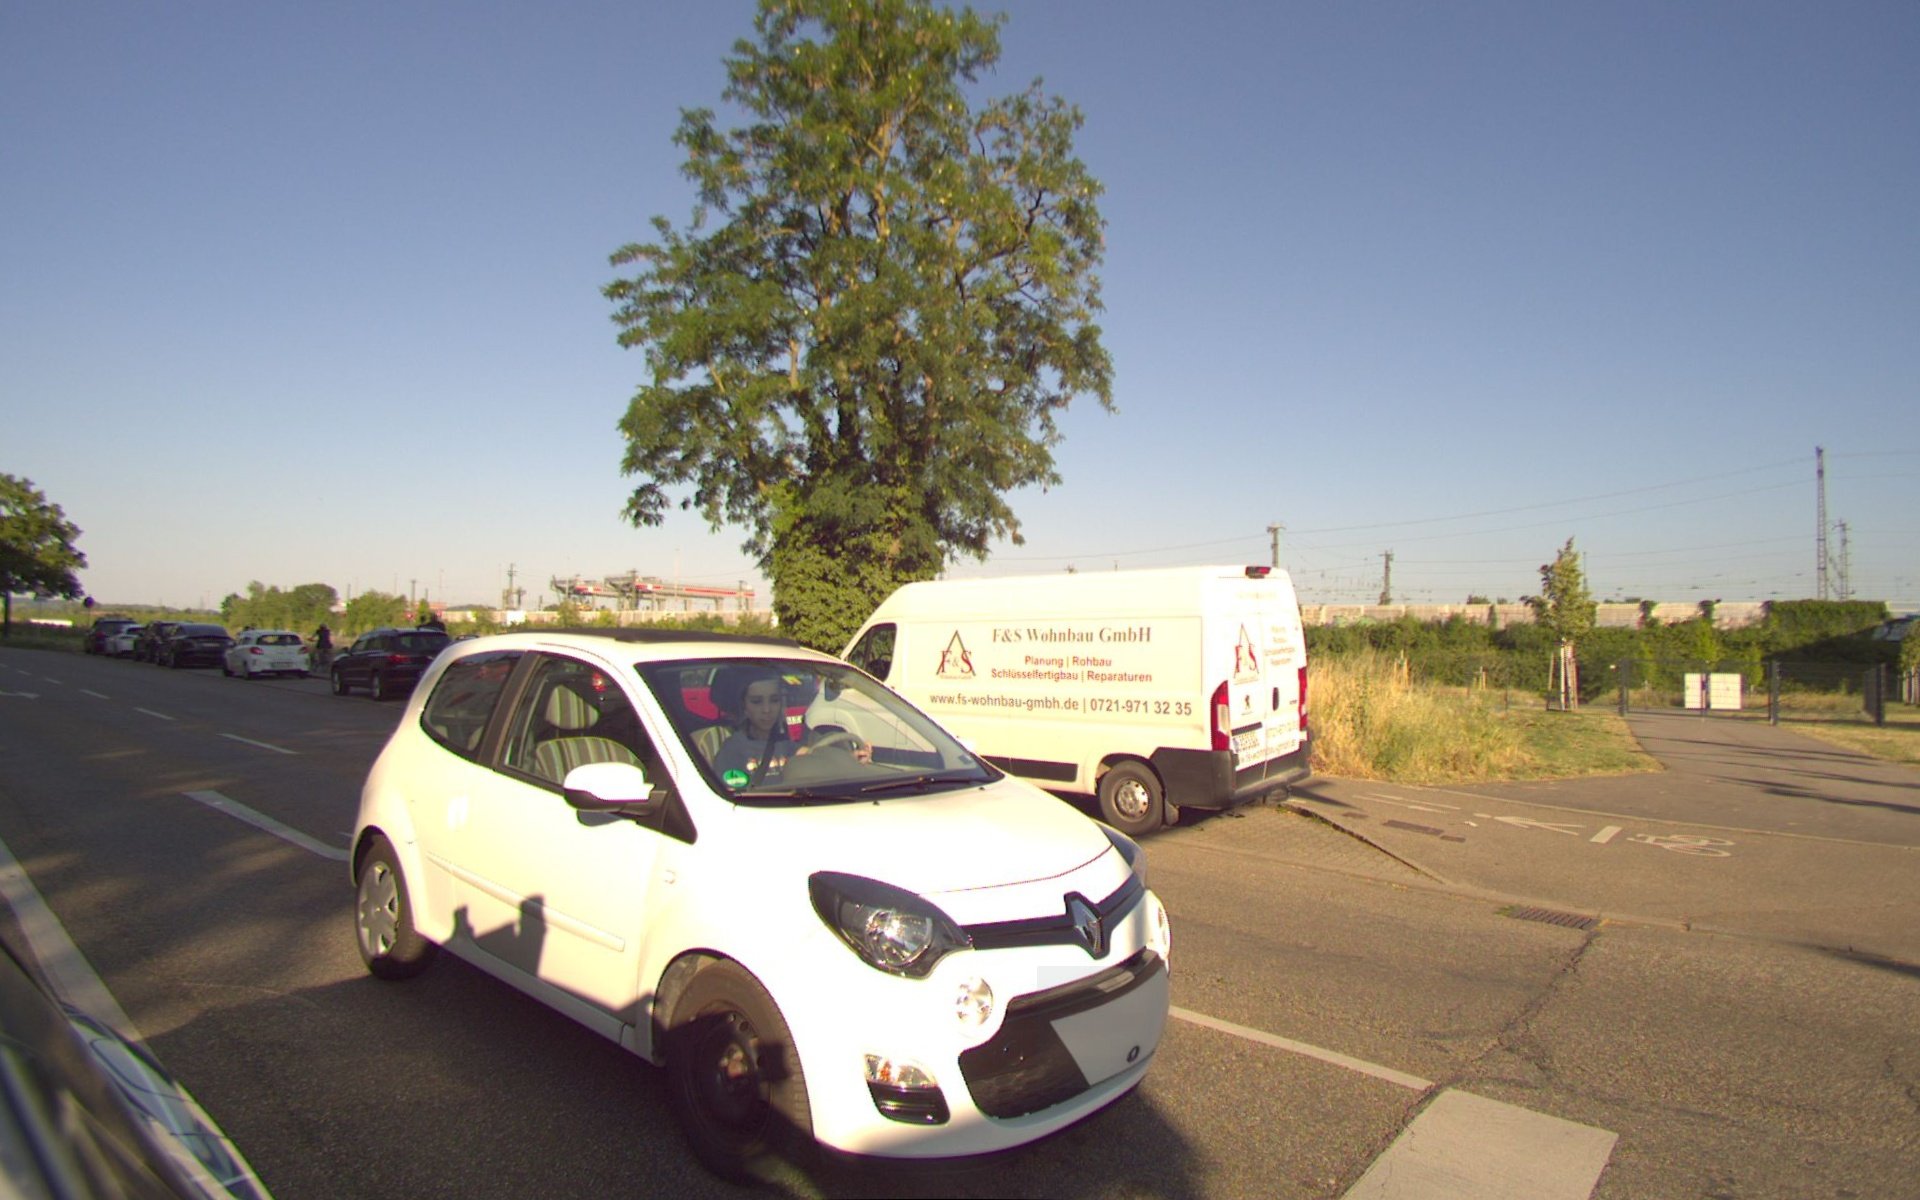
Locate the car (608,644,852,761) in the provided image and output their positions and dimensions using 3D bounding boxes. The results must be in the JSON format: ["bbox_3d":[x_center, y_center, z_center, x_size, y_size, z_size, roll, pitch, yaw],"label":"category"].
[{"bbox_3d":[-3.555,1.475,15.394,3.692,1.498,1.723,-1,-4,40],"label":"car"}]

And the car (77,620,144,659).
[{"bbox_3d":[-40.847,1.894,48.605,4.219,1.789,1.866,-1,-4,43],"label":"car"}]

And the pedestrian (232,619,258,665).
[{"bbox_3d":[-31.479,1.850,44.529,0.710,2.029,0.697,-1,-4,42],"label":"pedestrian"}]

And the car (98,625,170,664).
[{"bbox_3d":[-36.476,1.951,44.658,4.219,1.586,1.799,-1,-4,43],"label":"car"}]

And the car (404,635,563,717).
[{"bbox_3d":[-10.021,1.547,21.195,3.577,1.541,1.642,-1,-4,40],"label":"car"}]

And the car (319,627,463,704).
[{"bbox_3d":[-13.603,1.526,24.113,4.003,1.672,1.642,-1,-4,40],"label":"car"}]

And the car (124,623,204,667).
[{"bbox_3d":[-32.390,1.812,41.147,4.219,1.650,1.799,-1,-4,43],"label":"car"}]

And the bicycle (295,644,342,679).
[{"bbox_3d":[-21.199,2.022,33.424,2.163,1.098,0.738,-1,-4,43],"label":"bicycle"}]

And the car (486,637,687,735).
[{"bbox_3d":[-6.805,1.495,18.316,3.814,1.541,1.723,-1,-4,40],"label":"car"}]

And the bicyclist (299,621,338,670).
[{"bbox_3d":[-21.183,1.498,33.405,1.146,1.609,0.758,-1,-4,43],"label":"bicyclist"}]

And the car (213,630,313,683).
[{"bbox_3d":[-21.565,1.731,31.290,3.582,1.538,1.684,-1,-4,42],"label":"car"}]

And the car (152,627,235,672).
[{"bbox_3d":[-28.241,1.815,37.225,1.798,1.538,4.292,5,-4,-45],"label":"car"}]

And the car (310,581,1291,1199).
[{"bbox_3d":[-0.876,0.774,3.940,3.772,1.480,1.683,-1,-4,40],"label":"car"}]

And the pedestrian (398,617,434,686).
[{"bbox_3d":[-16.254,1.537,30.229,0.729,2.029,0.608,-1,-4,39],"label":"pedestrian"}]

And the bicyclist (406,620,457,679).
[{"bbox_3d":[-14.930,1.399,28.589,1.145,1.609,0.855,-1,-4,41],"label":"bicyclist"}]

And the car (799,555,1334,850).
[{"bbox_3d":[0.922,0.895,11.081,5.556,2.455,2.207,-1,-1,40],"label":"car"}]
